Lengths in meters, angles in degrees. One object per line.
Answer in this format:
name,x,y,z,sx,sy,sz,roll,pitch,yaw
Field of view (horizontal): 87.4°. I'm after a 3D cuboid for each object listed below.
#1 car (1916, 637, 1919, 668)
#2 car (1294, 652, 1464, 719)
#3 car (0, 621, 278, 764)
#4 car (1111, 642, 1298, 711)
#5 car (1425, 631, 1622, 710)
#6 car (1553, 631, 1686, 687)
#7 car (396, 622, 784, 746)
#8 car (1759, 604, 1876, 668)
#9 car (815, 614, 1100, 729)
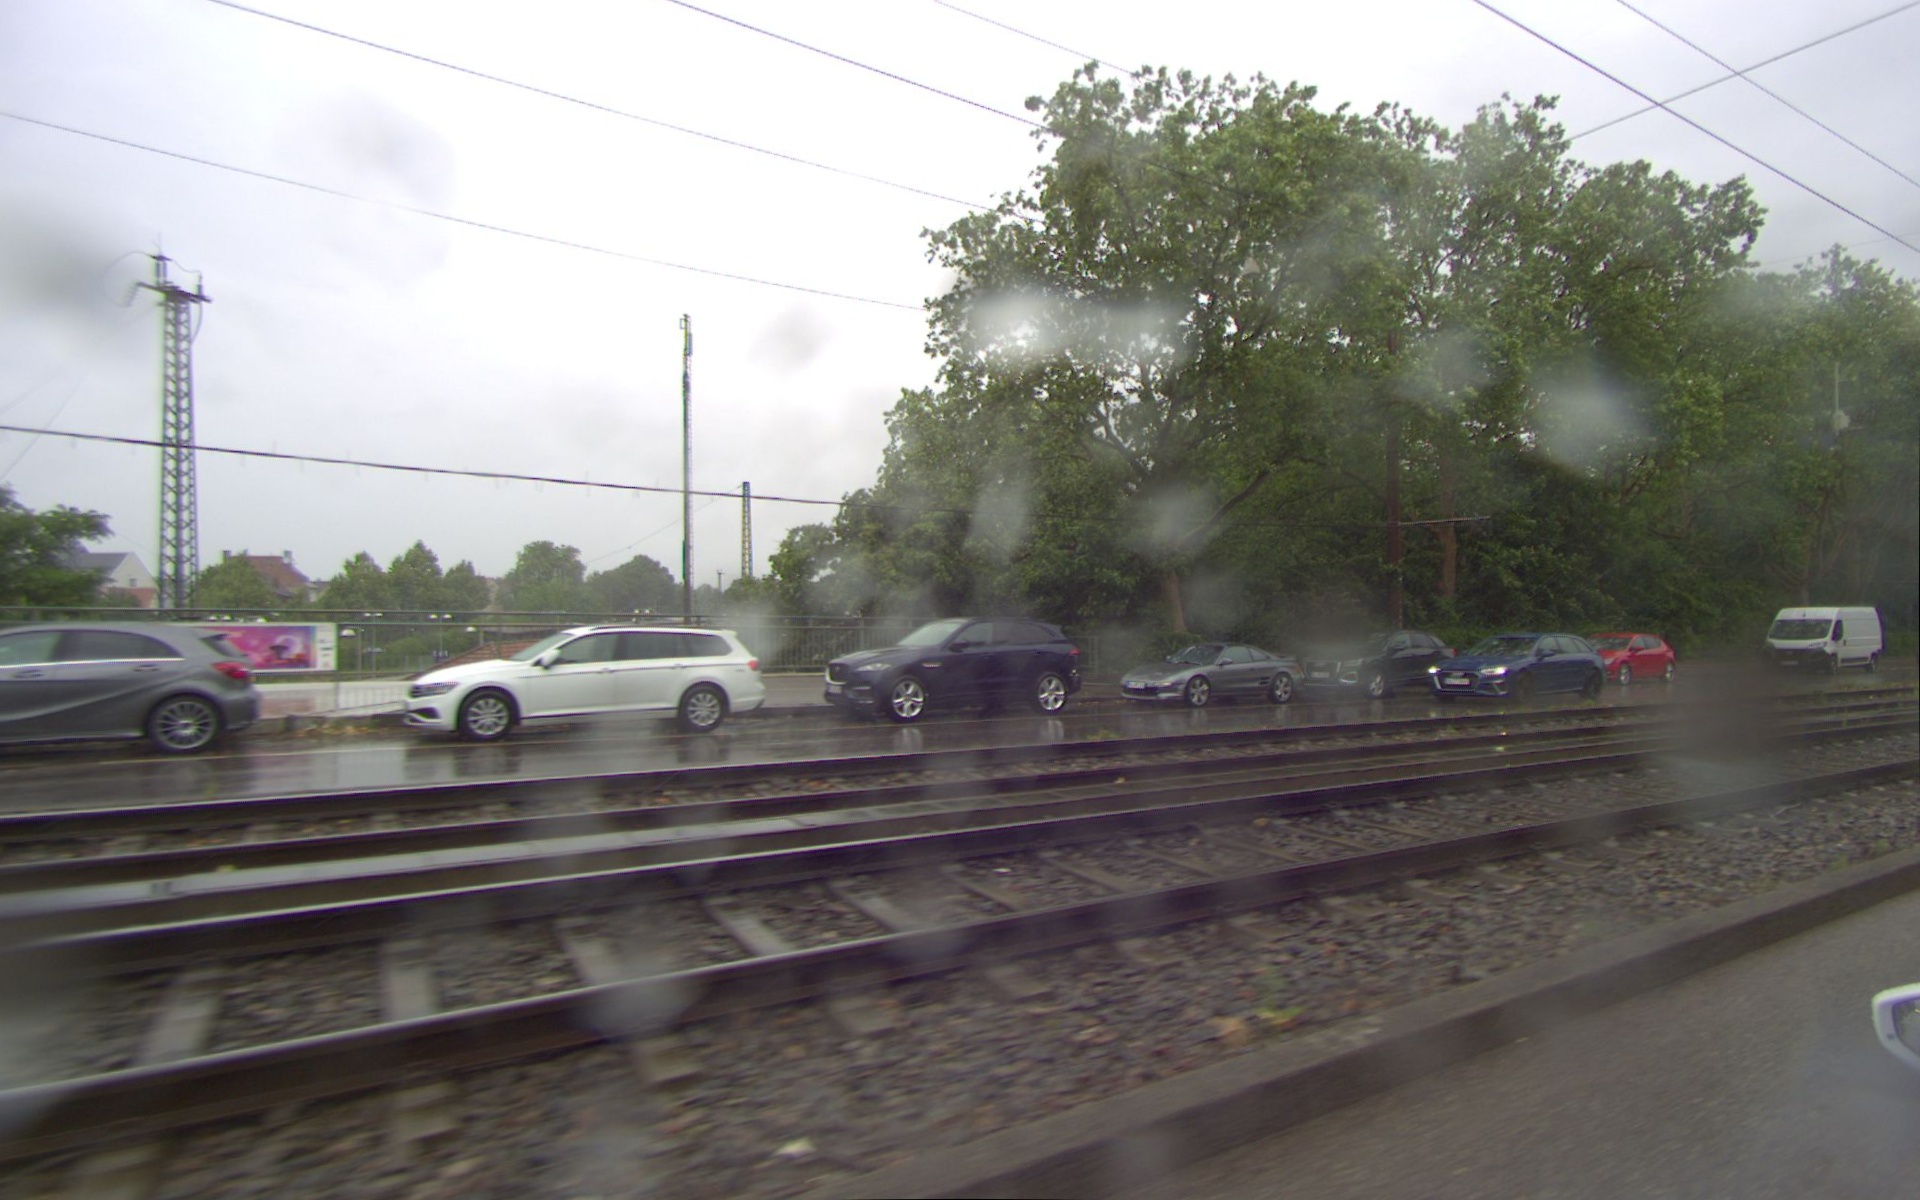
car,45.137,2.338,45.631,3.981,1.368,1.498,0,-2,-32
car,9.687,1.912,23.147,4.048,1.309,1.498,0,-2,-31
car,-10.047,0.983,10.886,4.365,1.419,1.496,0,-2,-36
car,4.956,1.489,20.232,3.670,1.188,1.498,0,-2,-32
car,11.932,1.424,21.172,4.653,1.419,1.498,0,-2,-31
car,19.359,1.681,29.436,4.214,1.461,1.601,0,-2,-32
car,-5.003,1.104,13.917,4.840,1.418,1.498,0,-5,-33
car,31.935,1.303,37.352,5.751,2.198,1.731,0,-2,-33
car,0.048,1.119,17.003,4.781,1.694,1.497,0,-2,-33
